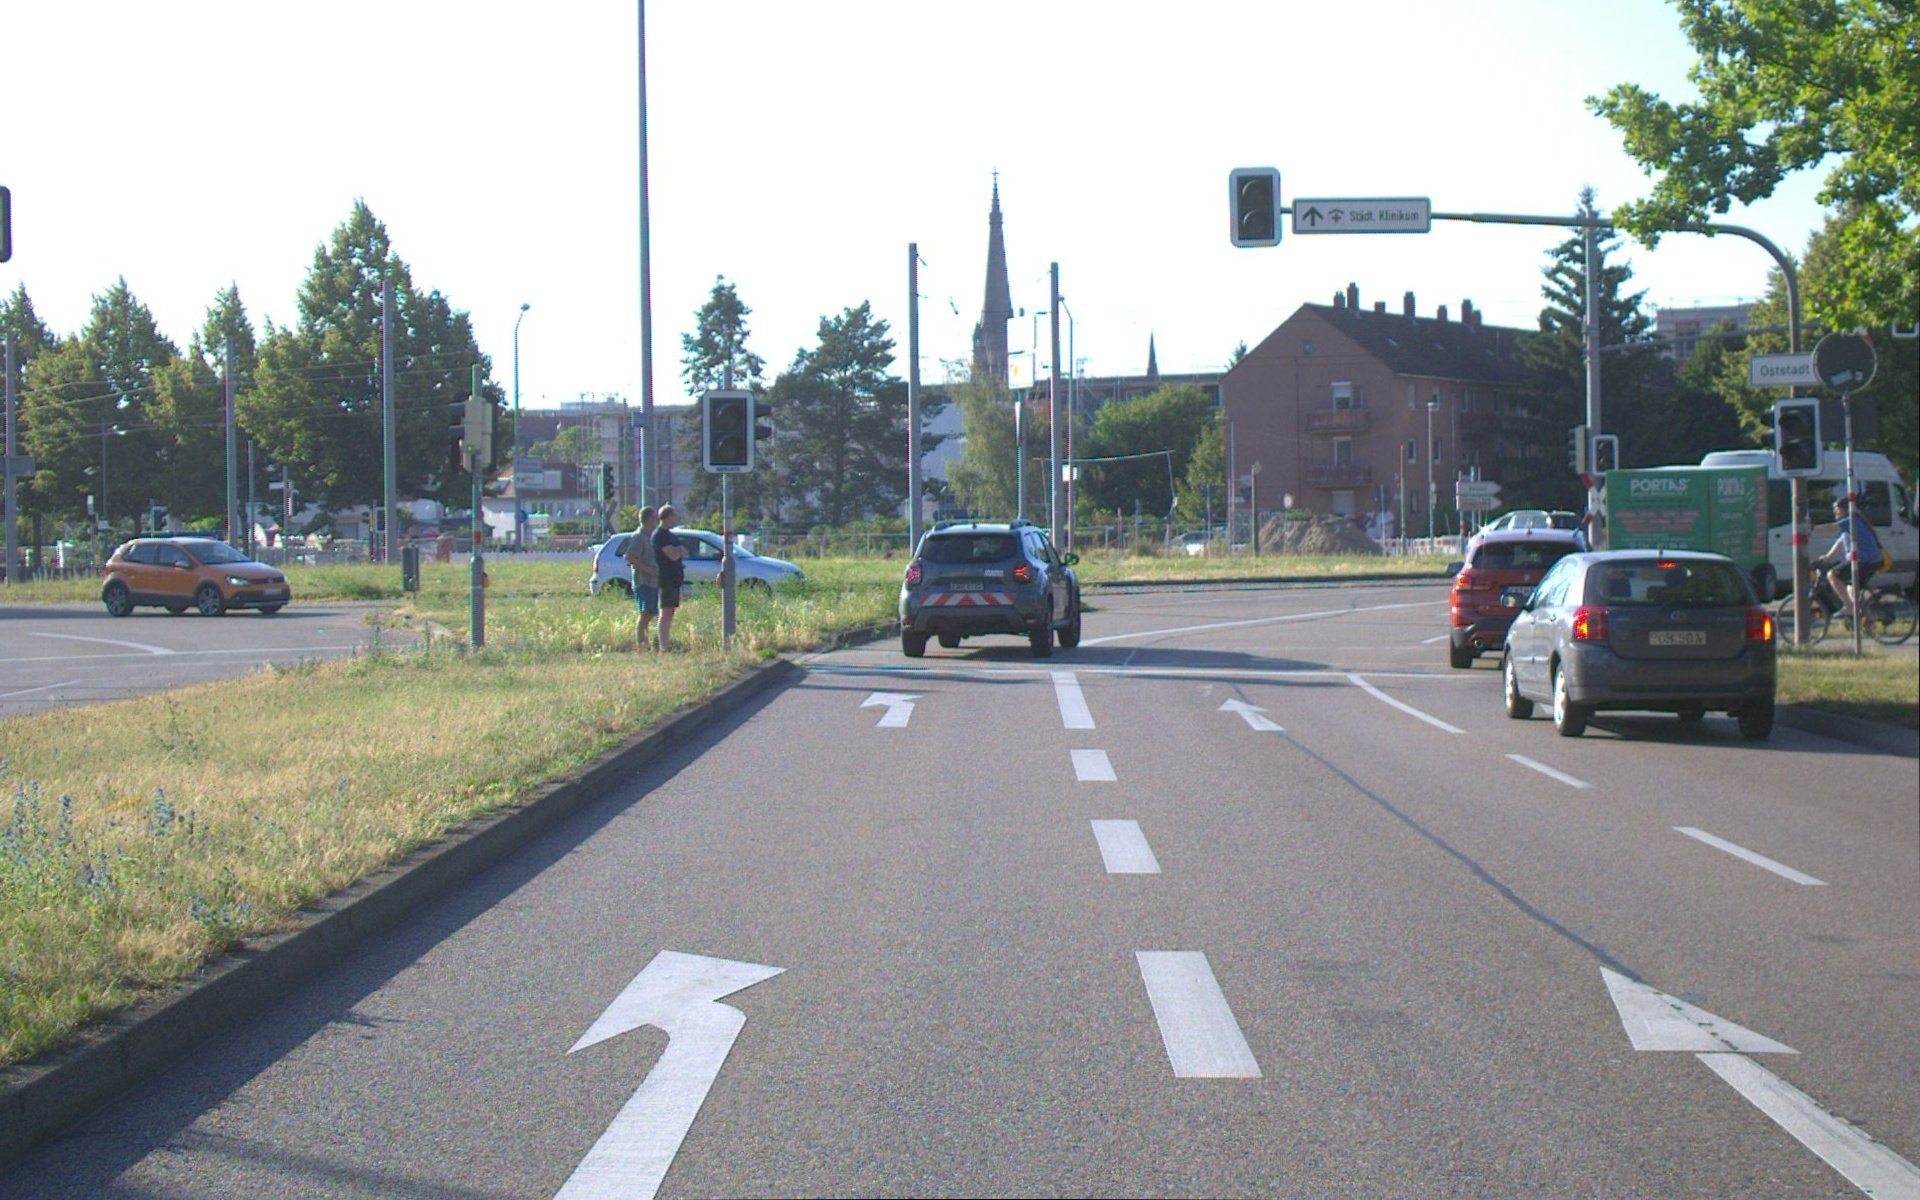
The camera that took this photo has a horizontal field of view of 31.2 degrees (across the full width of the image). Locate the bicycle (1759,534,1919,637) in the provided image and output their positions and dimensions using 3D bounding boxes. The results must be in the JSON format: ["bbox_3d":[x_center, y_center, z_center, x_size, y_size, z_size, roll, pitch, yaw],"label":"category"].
[{"bbox_3d":[11.241,-0.178,43.888,1.908,1.240,0.608,-2,1,37],"label":"bicycle"}]

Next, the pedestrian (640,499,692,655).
[{"bbox_3d":[-3.506,-0.284,41.002,0.486,1.837,0.672,-1,1,4],"label":"pedestrian"}]

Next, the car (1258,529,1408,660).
[{"bbox_3d":[4.870,-0.107,45.294,1.602,1.604,4.000,-1,1,1],"label":"car"}]

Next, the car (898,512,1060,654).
[{"bbox_3d":[0.232,-0.242,42.921,1.905,1.654,4.000,-1,1,0],"label":"car"}]

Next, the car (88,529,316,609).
[{"bbox_3d":[-14.336,-0.584,64.958,4.134,1.439,1.905,0,2,36],"label":"car"}]

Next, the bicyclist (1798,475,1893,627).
[{"bbox_3d":[11.290,-0.627,43.832,0.938,1.892,0.600,-2,1,37],"label":"bicyclist"}]

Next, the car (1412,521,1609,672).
[{"bbox_3d":[6.399,-0.086,40.333,1.747,1.615,3.820,2,2,1],"label":"car"}]

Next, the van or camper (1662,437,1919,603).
[{"bbox_3d":[14.189,-1.347,57.643,2.289,2.620,6.570,1,2,35],"label":"van or camper"}]

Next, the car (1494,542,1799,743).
[{"bbox_3d":[5.533,0.292,28.133,1.747,1.468,3.820,-1,1,1],"label":"car"}]

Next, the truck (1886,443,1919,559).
[{"bbox_3d":[22.645,-2.306,78.959,2.582,2.549,6.247,-1,2,16],"label":"truck"}]

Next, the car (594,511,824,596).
[{"bbox_3d":[-4.466,-0.842,61.555,3.748,1.429,1.835,-1,1,10],"label":"car"}]

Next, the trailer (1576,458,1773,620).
[{"bbox_3d":[10.968,-0.947,52.608,2.093,2.392,3.496,1,1,27],"label":"trailer"}]

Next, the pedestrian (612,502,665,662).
[{"bbox_3d":[-3.739,-0.217,40.035,0.486,1.837,0.719,-1,1,4],"label":"pedestrian"}]

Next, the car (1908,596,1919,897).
[{"bbox_3d":[5.202,0.703,13.112,1.854,1.333,4.625,1,1,0],"label":"car"}]
